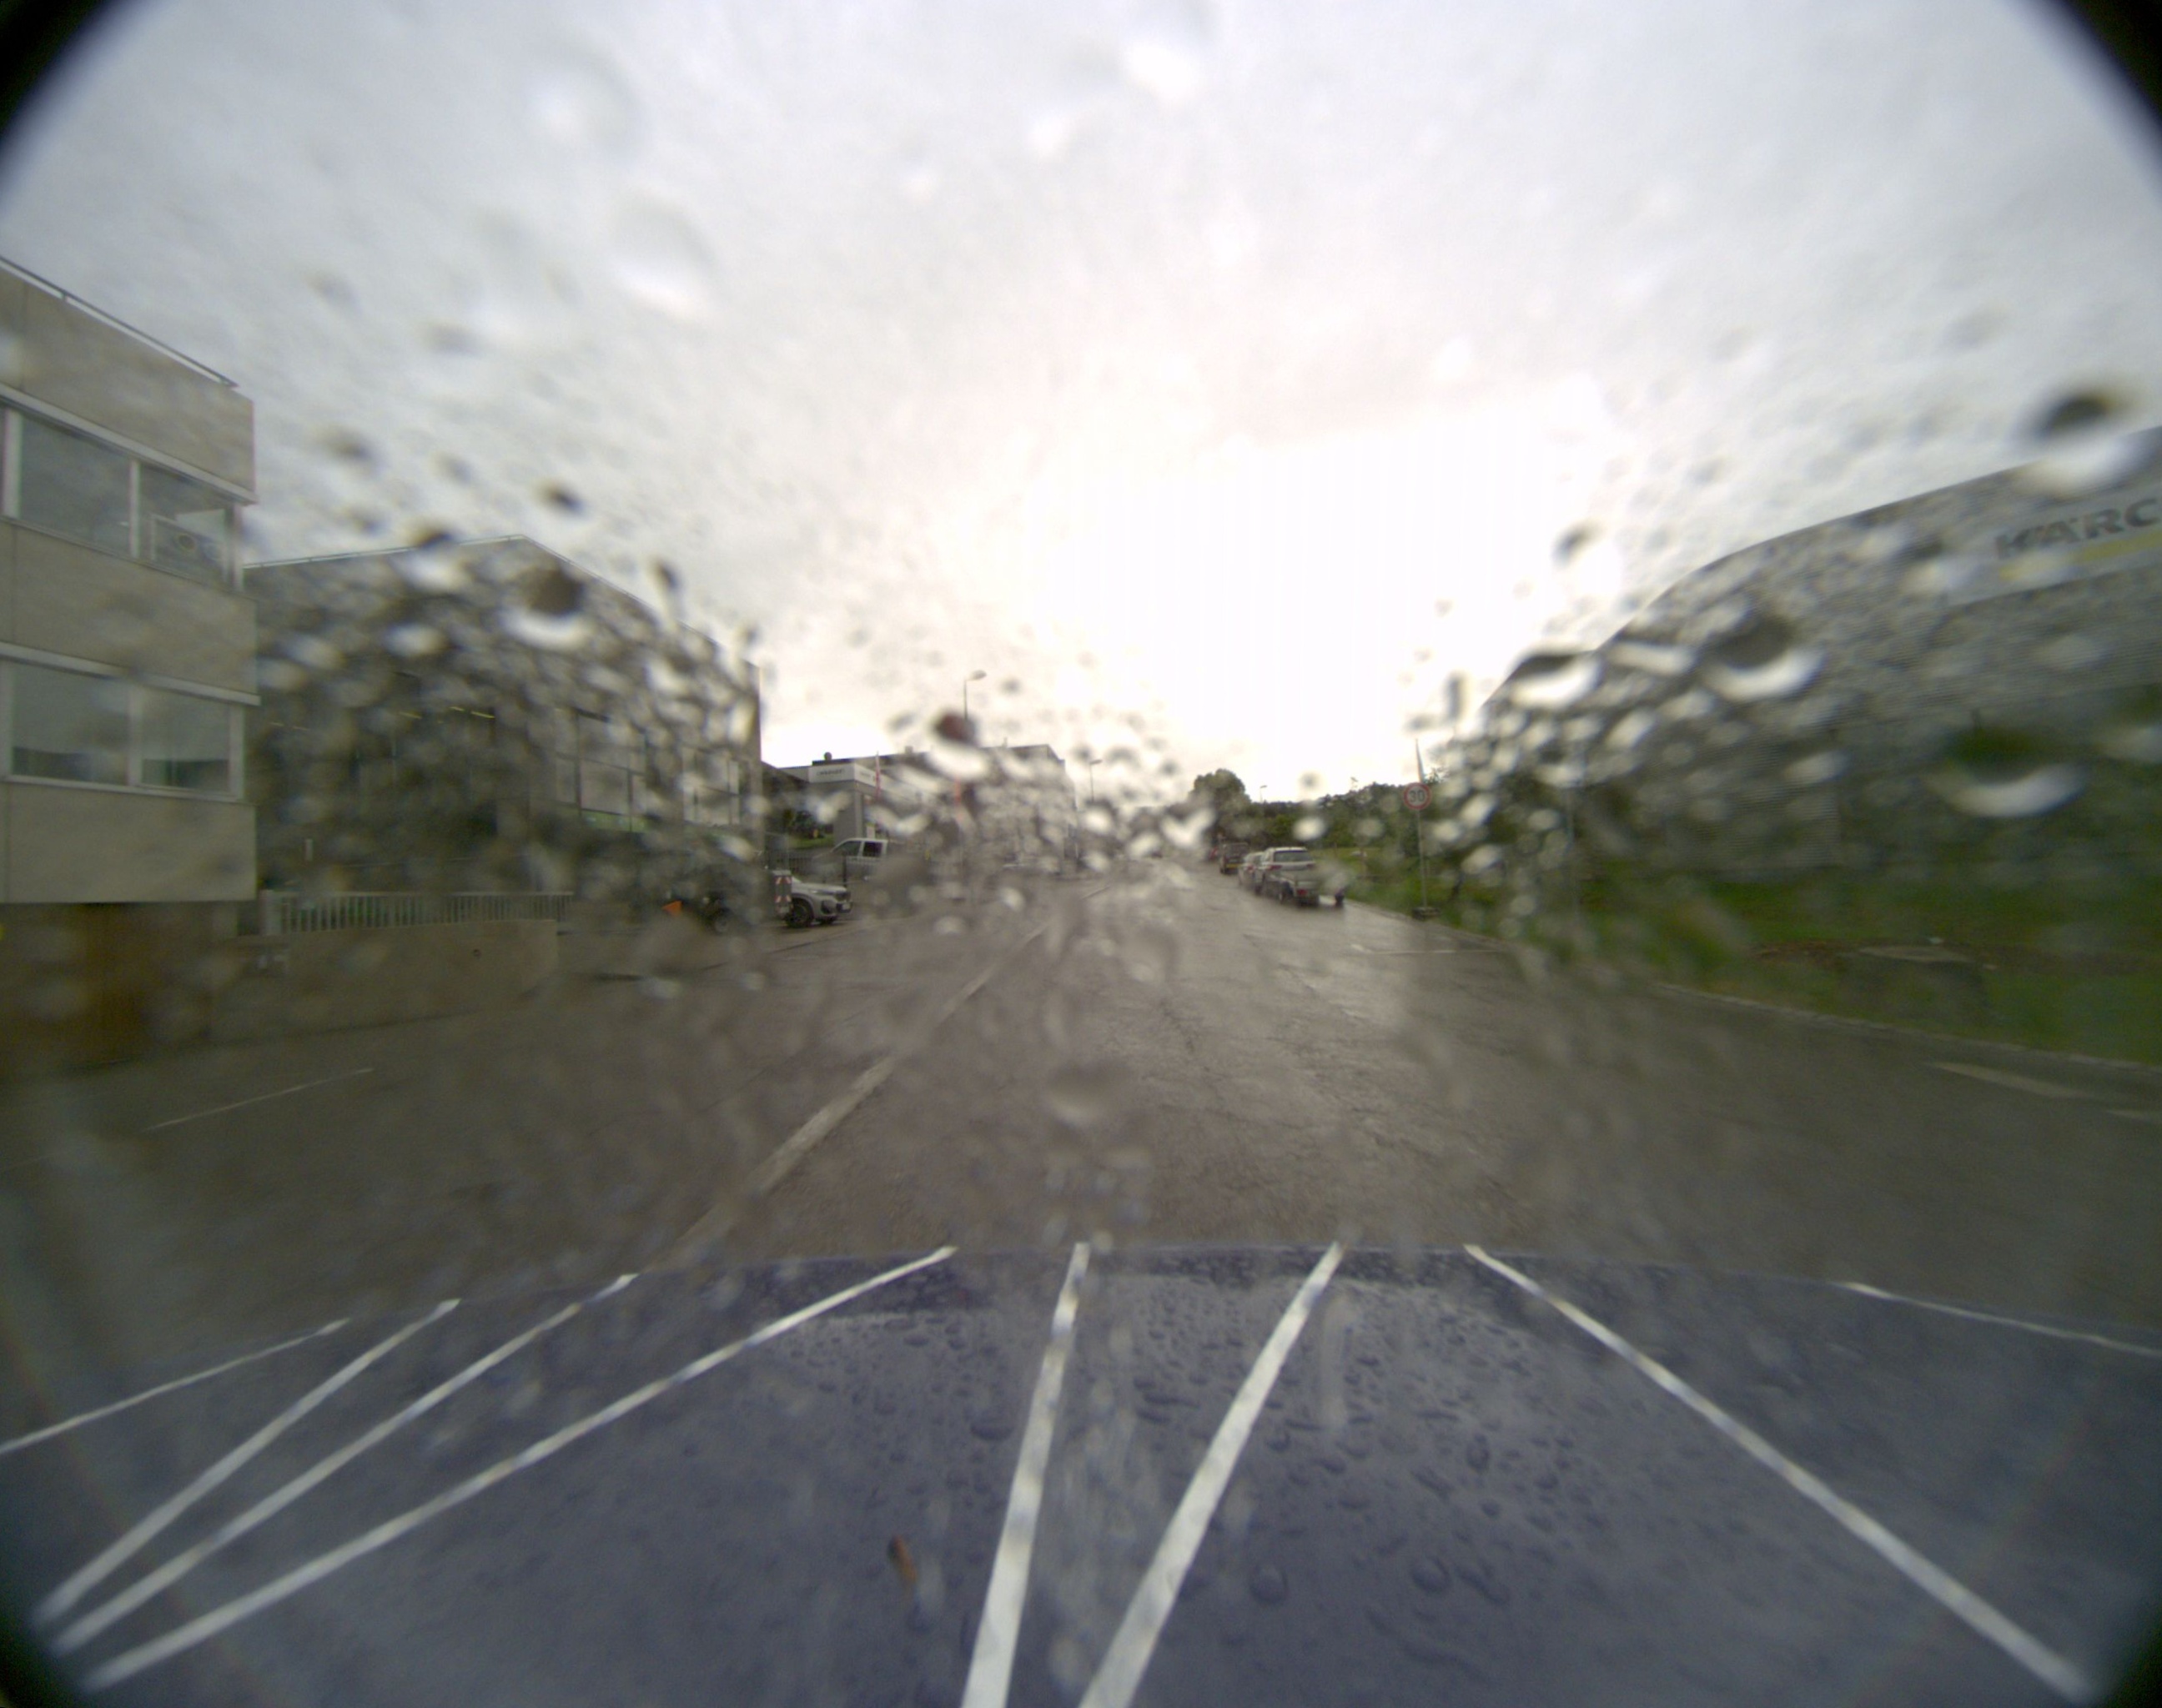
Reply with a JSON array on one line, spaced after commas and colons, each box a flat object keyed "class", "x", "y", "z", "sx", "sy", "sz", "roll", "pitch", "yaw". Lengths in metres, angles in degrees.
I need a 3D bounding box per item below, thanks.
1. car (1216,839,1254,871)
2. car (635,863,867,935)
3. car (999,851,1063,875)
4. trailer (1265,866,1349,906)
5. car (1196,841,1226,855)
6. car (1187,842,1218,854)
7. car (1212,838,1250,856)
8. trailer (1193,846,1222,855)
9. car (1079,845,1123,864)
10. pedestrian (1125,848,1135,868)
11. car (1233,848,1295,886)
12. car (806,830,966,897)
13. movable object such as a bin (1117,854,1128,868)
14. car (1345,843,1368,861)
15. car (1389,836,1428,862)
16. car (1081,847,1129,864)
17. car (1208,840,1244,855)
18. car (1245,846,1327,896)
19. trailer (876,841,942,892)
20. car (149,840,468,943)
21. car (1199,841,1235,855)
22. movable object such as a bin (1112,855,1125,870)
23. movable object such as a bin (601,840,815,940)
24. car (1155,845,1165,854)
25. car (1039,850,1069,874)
[{"class": "car", "x": 9.733, "y": 0.031, "z": 48.350, "sx": 1.919, "sy": 1.821, "sz": 4.850, "roll": -3, "pitch": 1, "yaw": 7}, {"class": "car", "x": -8.345, "y": 1.118, "z": 19.489, "sx": 5.102, "sy": 1.604, "sz": 1.926, "roll": -2, "pitch": 0, "yaw": 5}, {"class": "car", "x": -3.420, "y": 0.599, "z": 52.869, "sx": 4.129, "sy": 1.565, "sz": 2.004, "roll": 0, "pitch": 1, "yaw": 6}, {"class": "trailer", "x": 6.780, "y": 0.925, "z": 23.127, "sx": 1.684, "sy": 0.883, "sz": 3.898, "roll": -2, "pitch": 1, "yaw": 5}, {"class": "car", "x": 18.556, "y": -0.895, "z": 108.561, "sx": 4.083, "sy": 1.712, "sz": 2.026, "roll": -5, "pitch": 1, "yaw": 5}, {"class": "car", "x": 18.643, "y": -0.947, "z": 116.314, "sx": 4.379, "sy": 1.712, "sz": 2.044, "roll": -3, "pitch": 1, "yaw": 0}, {"class": "car", "x": 17.804, "y": -0.848, "z": 90.312, "sx": 4.308, "sy": 1.895, "sz": 1.863, "roll": -2, "pitch": 1, "yaw": 9}, {"class": "trailer", "x": 18.540, "y": -0.508, "z": 111.228, "sx": 3.951, "sy": 0.955, "sz": 2.000, "roll": -4, "pitch": 0, "yaw": 2}, {"class": "car", "x": 2.099, "y": 0.043, "z": 78.074, "sx": 4.350, "sy": 1.763, "sz": 2.089, "roll": -2, "pitch": 1, "yaw": 5}, {"class": "pedestrian", "x": 4.435, "y": 0.345, "z": 68.807, "sx": 0.738, "sy": 1.757, "sz": 0.809, "roll": -3, "pitch": 1, "yaw": 8}, {"class": "car", "x": 8.031, "y": 0.533, "z": 33.808, "sx": 1.960, "sy": 1.452, "sz": 5.249, "roll": -2, "pitch": 0, "yaw": 6}, {"class": "car", "x": -7.318, "y": 0.315, "z": 28.840, "sx": 5.307, "sy": 2.002, "sz": 2.223, "roll": 5, "pitch": 2, "yaw": 8}, {"class": "movable object such as a bin", "x": 3.309, "y": 0.591, "z": 60.191, "sx": 0.745, "sy": 1.060, "sz": 0.637, "roll": -3, "pitch": 1, "yaw": 8}, {"class": "car", "x": 30.599, "y": -0.151, "z": 84.356, "sx": 1.995, "sy": 1.742, "sz": 4.393, "roll": -2, "pitch": -3, "yaw": 26}, {"class": "car", "x": 26.367, "y": -0.339, "z": 61.006, "sx": 2.130, "sy": 1.910, "sz": 5.621, "roll": -3, "pitch": -2, "yaw": 30}, {"class": "car", "x": 2.369, "y": 0.129, "z": 74.954, "sx": 4.606, "sy": 1.530, "sz": 2.080, "roll": -1, "pitch": 1, "yaw": 6}, {"class": "car", "x": 18.181, "y": -0.838, "z": 95.400, "sx": 4.206, "sy": 1.712, "sz": 1.755, "roll": -3, "pitch": 1, "yaw": 1}, {"class": "car", "x": 7.284, "y": 0.536, "z": 27.470, "sx": 1.961, "sy": 1.568, "sz": 4.841, "roll": -2, "pitch": 1, "yaw": 5}, {"class": "trailer", "x": -8.816, "y": 0.639, "z": 39.368, "sx": 1.890, "sy": 2.402, "sz": 4.311, "roll": -2, "pitch": -1, "yaw": 8}, {"class": "car", "x": -16.052, "y": 0.782, "z": 15.943, "sx": 4.901, "sy": 1.839, "sz": 1.901, "roll": 2, "pitch": -3, "yaw": 5}, {"class": "car", "x": 18.946, "y": -0.796, "z": 105.715, "sx": 4.628, "sy": 1.581, "sz": 1.806, "roll": -5, "pitch": 1, "yaw": 4}, {"class": "movable object such as a bin", "x": 2.862, "y": 0.626, "z": 58.260, "sx": 0.730, "sy": 1.107, "sz": 0.705, "roll": -3, "pitch": 1, "yaw": 22}, {"class": "movable object such as a bin", "x": -8.604, "y": 0.817, "z": 17.671, "sx": 4.263, "sy": 2.098, "sz": 1.477, "roll": -2, "pitch": 1, "yaw": 7}, {"class": "car", "x": 14.257, "y": -0.759, "z": 137.228, "sx": 1.751, "sy": 1.500, "sz": 3.935, "roll": -3, "pitch": 1, "yaw": 4}, {"class": "car", "x": -2.191, "y": 0.622, "z": 62.199, "sx": 1.752, "sy": 1.740, "sz": 4.474, "roll": -2, "pitch": 1, "yaw": 6}]
